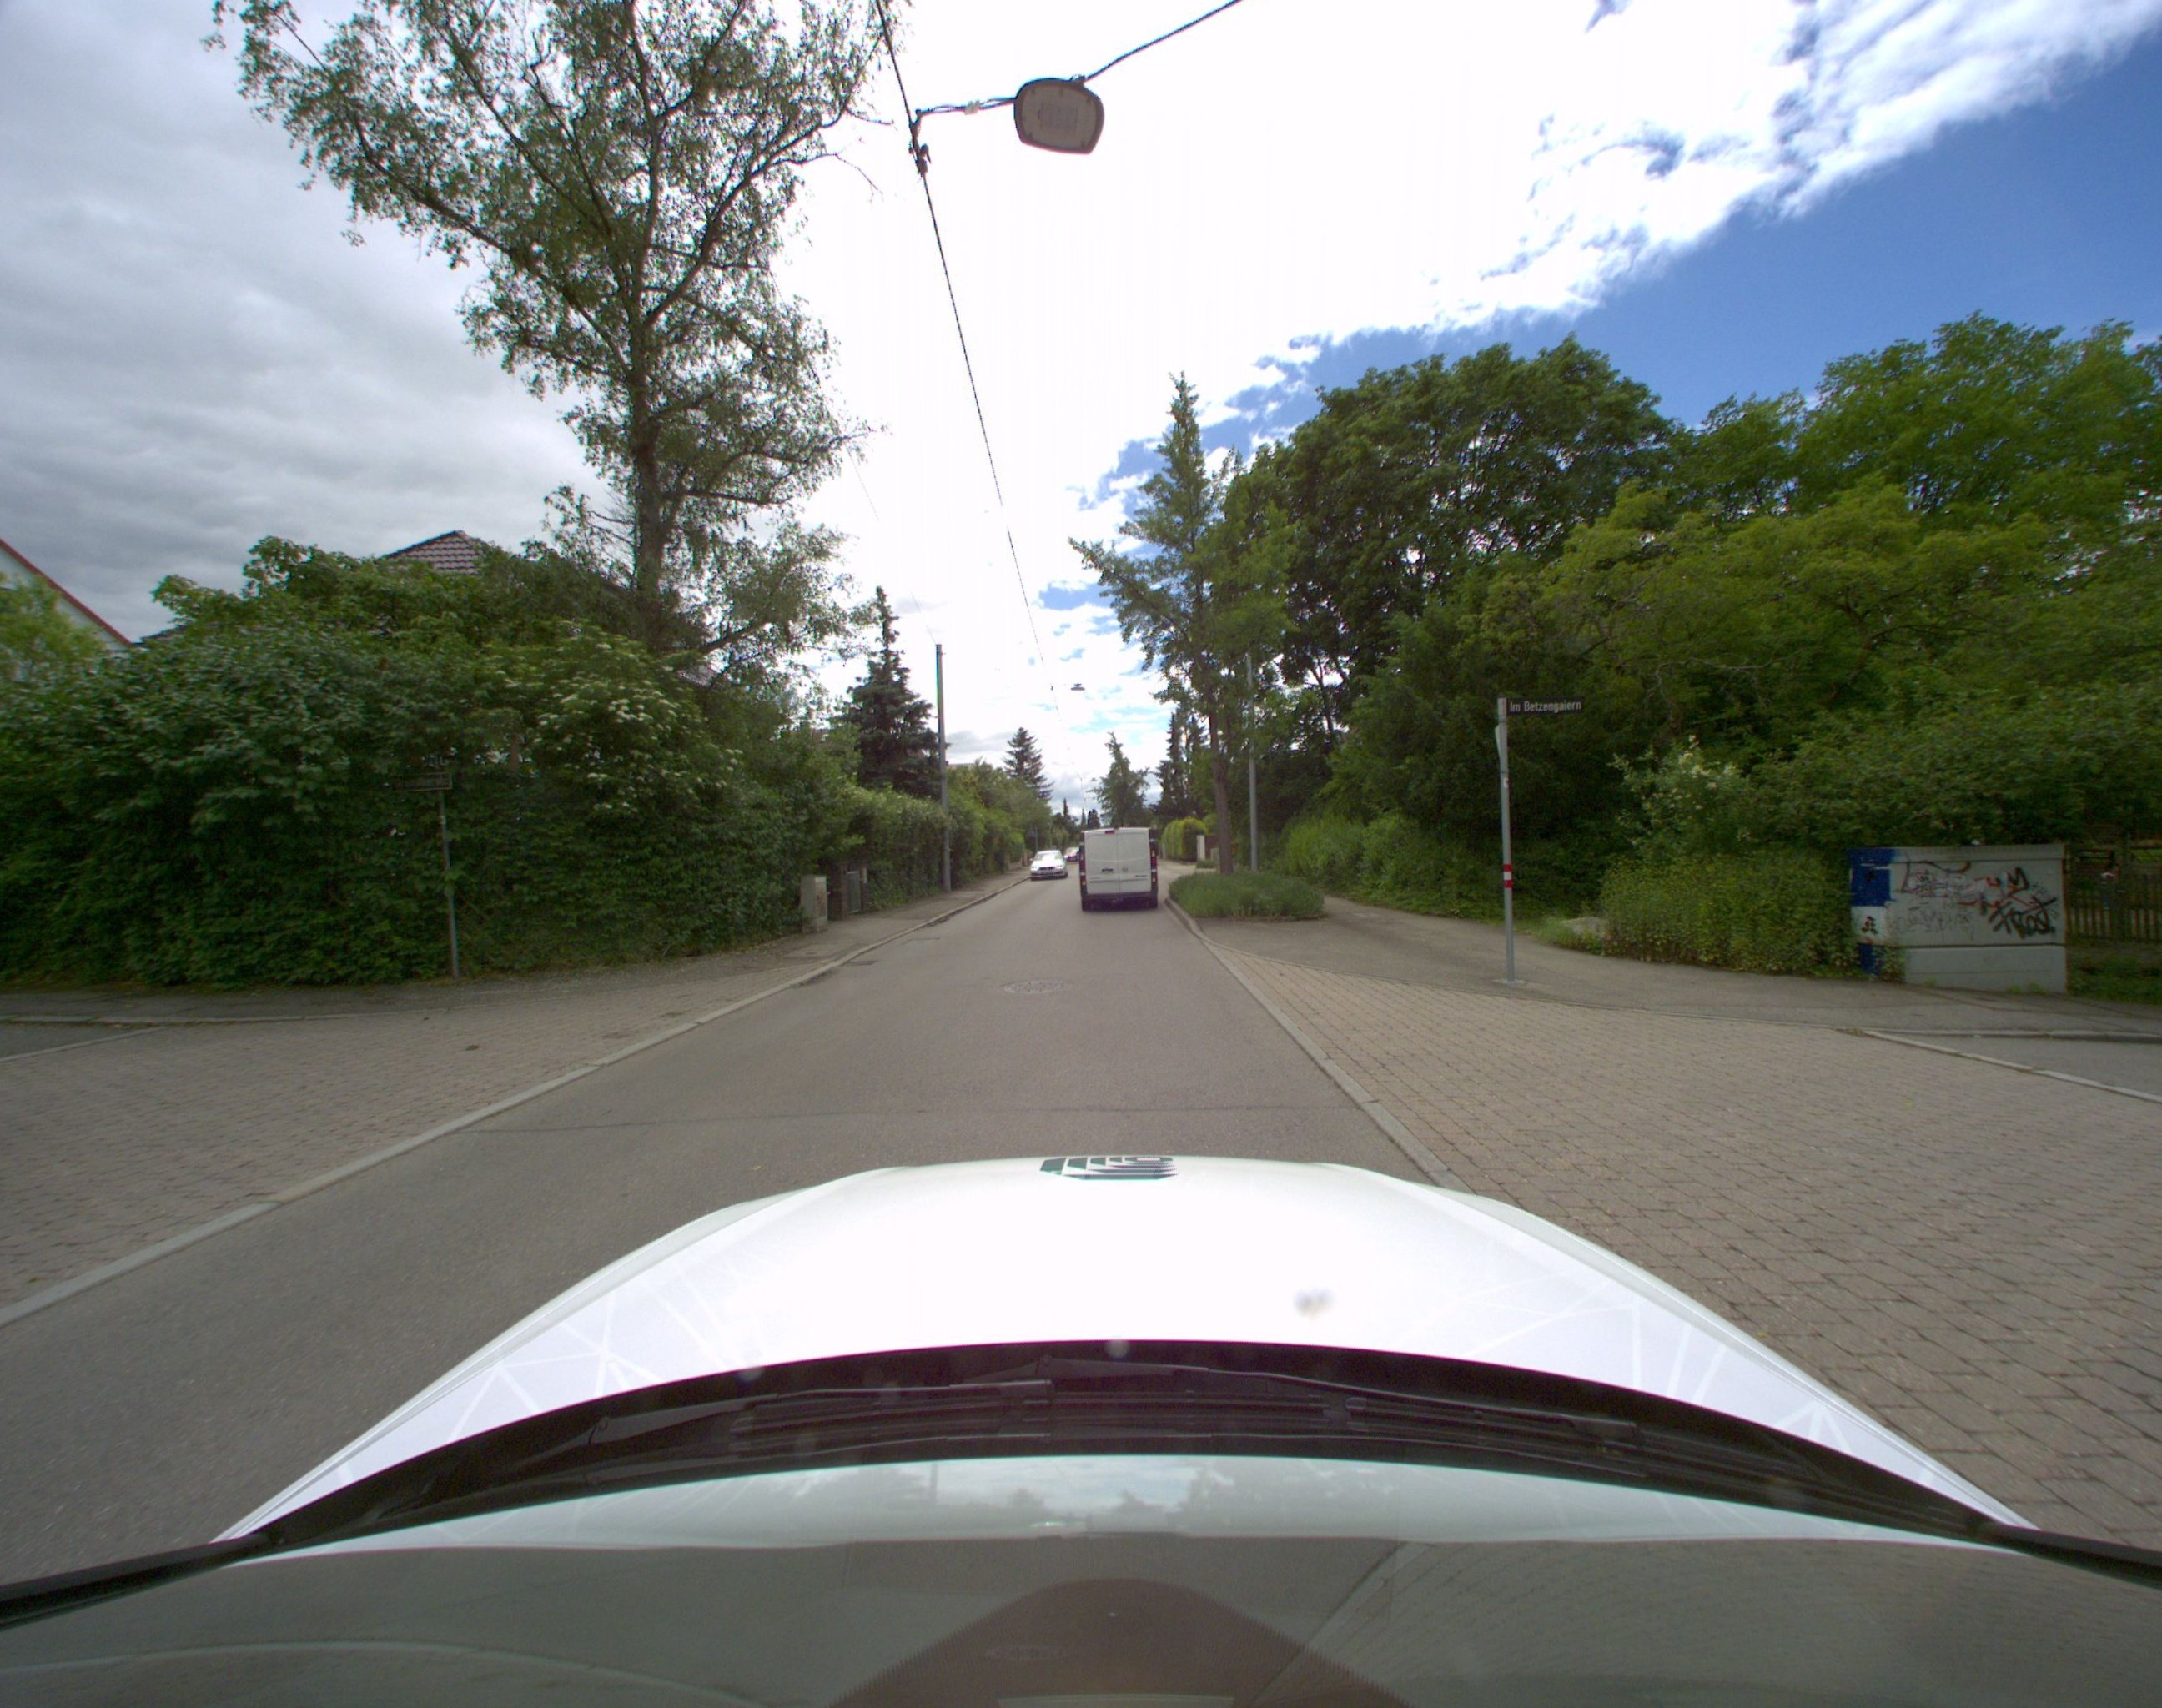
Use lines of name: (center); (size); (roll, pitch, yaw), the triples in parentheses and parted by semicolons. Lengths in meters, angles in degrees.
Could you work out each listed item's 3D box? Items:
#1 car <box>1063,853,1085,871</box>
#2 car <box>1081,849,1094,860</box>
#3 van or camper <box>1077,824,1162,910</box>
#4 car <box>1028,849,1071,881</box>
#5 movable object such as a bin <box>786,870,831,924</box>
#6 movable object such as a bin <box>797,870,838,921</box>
car: (-0.559, 0.704, 72.996); (1.799, 1.431, 4.118); (-5, 0, 0)
car: (1.040, 0.088, 126.225); (1.849, 1.451, 4.281); (-4, 1, 0)
van or camper: (0.916, 0.331, 21.141); (1.932, 1.954, 4.765); (-1, -1, 1)
car: (-1.578, 0.536, 42.042); (1.799, 1.431, 4.302); (-5, 0, 1)
movable object such as a bin: (-5.950, 0.935, 17.790); (0.726, 1.125, 0.722); (1, 0, -2)
movable object such as a bin: (-5.992, 0.928, 18.538); (0.726, 1.117, 0.585); (1, 0, -2)
